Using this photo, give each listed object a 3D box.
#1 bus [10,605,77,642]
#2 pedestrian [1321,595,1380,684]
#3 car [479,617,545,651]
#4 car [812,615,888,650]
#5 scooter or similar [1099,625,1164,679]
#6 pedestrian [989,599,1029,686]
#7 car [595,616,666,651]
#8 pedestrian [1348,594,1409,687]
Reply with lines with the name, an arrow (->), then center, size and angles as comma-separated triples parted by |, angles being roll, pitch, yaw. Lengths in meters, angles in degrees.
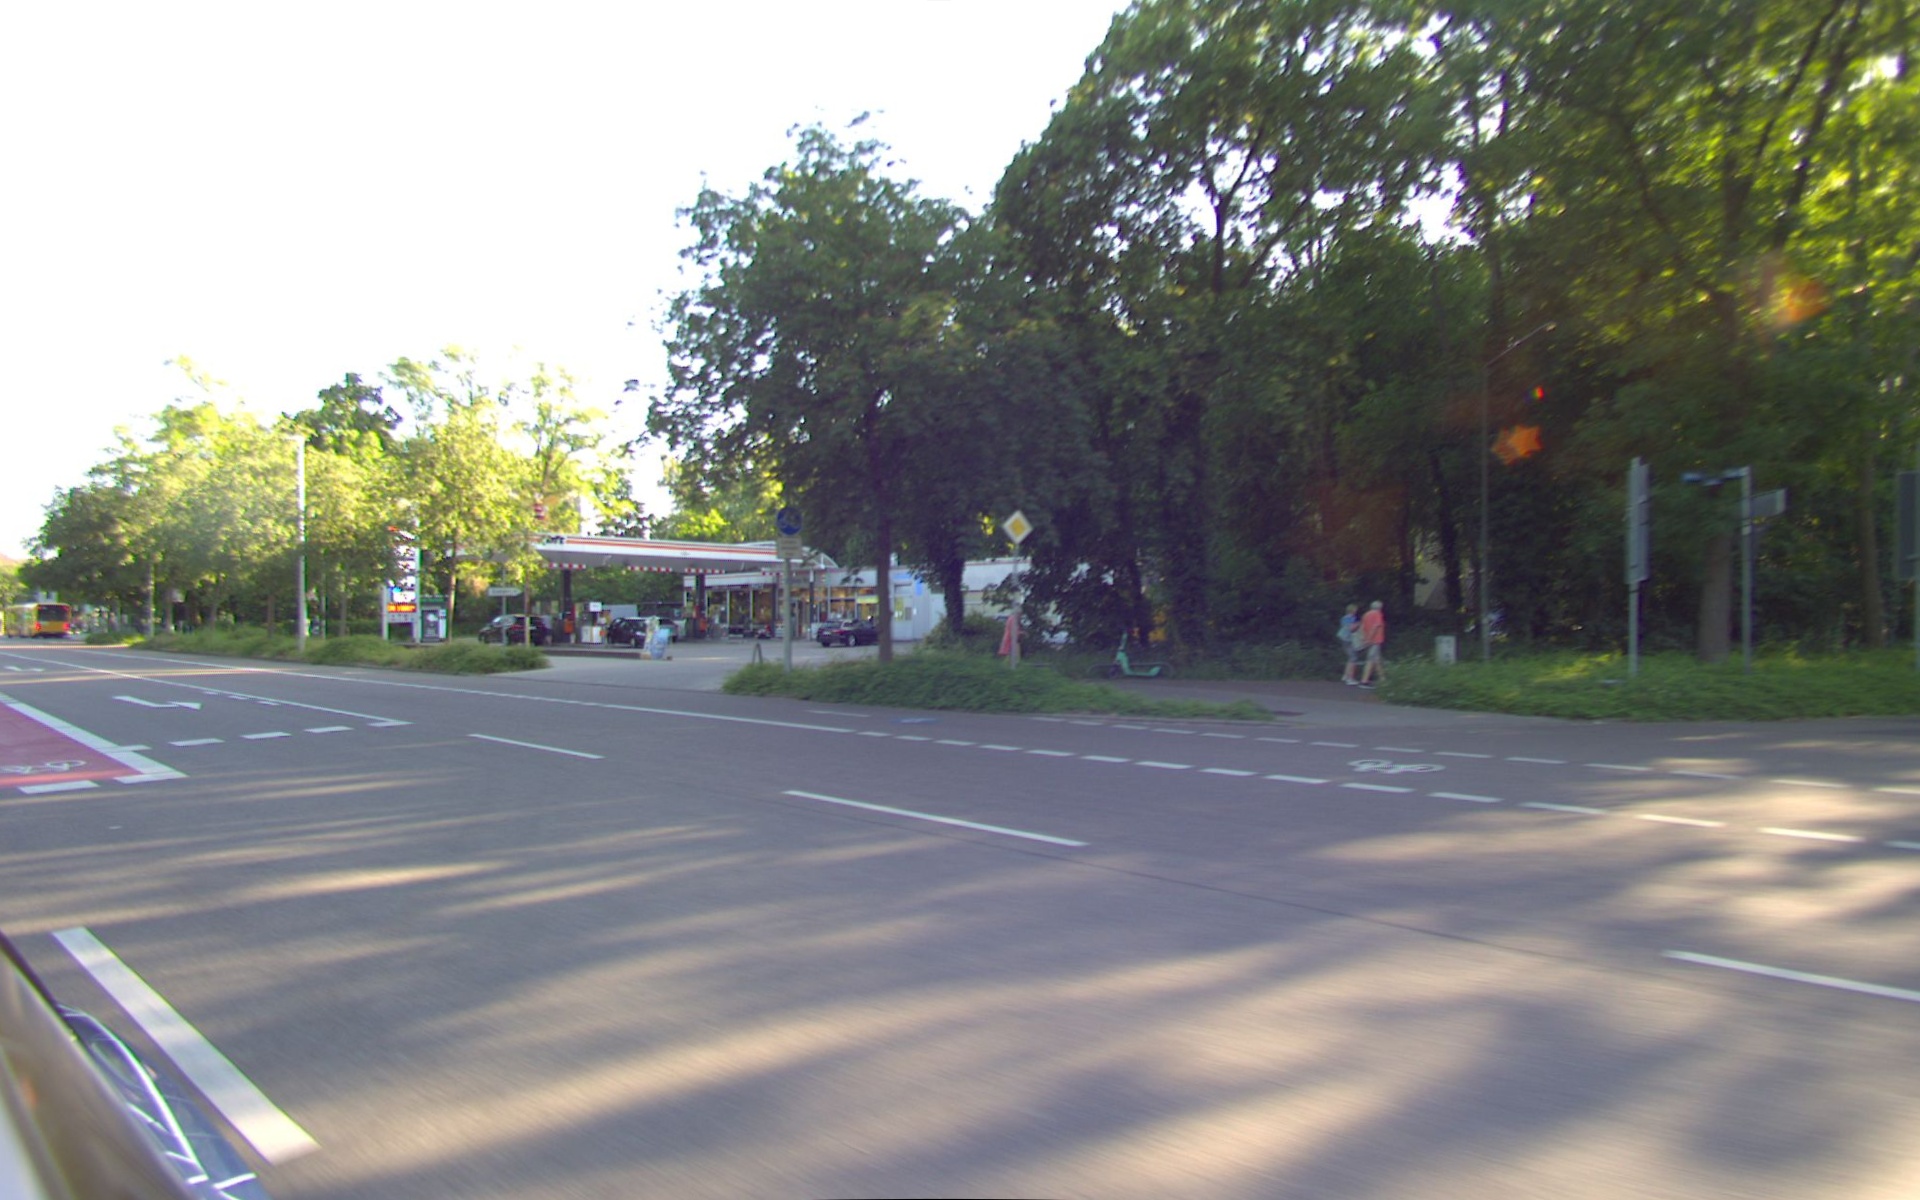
bus -> -88.771, 2.276, 97.934 | 9.464, 3.434, 3.002 | -1, -1, 37
pedestrian -> 8.152, 0.812, 21.145 | 0.820, 1.833, 0.739 | 0, -1, -19
car -> -22.309, 1.670, 50.320 | 3.612, 1.653, 1.735 | -1, -2, 43
car -> -5.496, 1.606, 50.796 | 1.759, 1.653, 3.563 | -1, -1, 41
scooter or similar -> 3.690, 1.115, 21.824 | 1.333, 1.140, 0.462 | -1, -1, 16
pedestrian -> 1.062, 0.905, 21.706 | 0.824, 1.833, 0.735 | -1, -1, 4
car -> -16.414, 1.655, 50.338 | 3.837, 1.653, 1.735 | -1, -2, 43
pedestrian -> 8.424, 0.809, 20.378 | 0.820, 1.833, 0.739 | 0, -1, -19
